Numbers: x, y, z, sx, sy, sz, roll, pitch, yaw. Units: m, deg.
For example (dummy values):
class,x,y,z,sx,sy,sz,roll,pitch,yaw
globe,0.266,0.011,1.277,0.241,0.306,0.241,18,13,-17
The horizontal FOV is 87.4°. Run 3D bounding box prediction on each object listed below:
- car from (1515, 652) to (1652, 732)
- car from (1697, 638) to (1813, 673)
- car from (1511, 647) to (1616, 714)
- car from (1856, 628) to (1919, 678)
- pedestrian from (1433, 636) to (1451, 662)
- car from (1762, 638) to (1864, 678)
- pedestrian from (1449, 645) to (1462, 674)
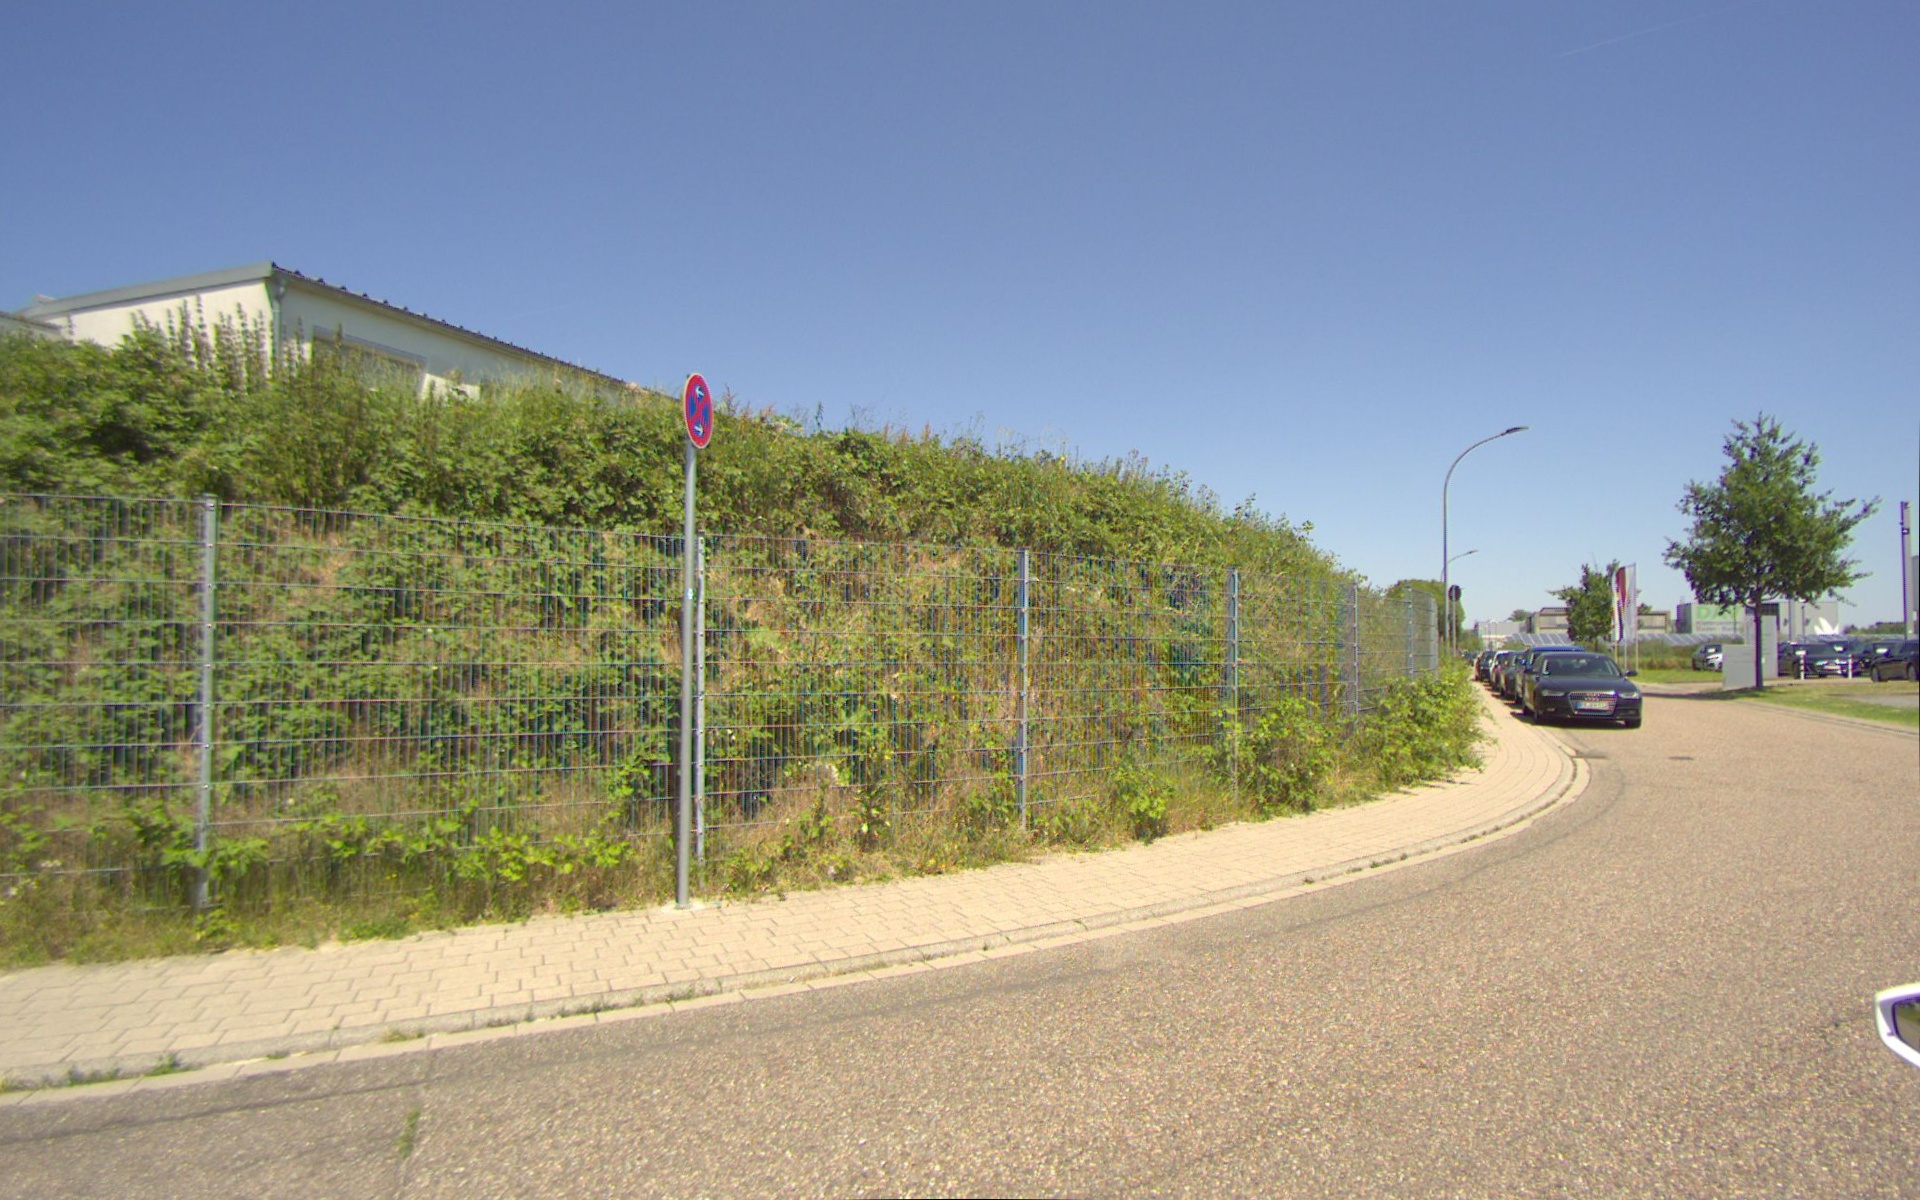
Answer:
class,x,y,z,sx,sy,sz,roll,pitch,yaw
car,12.875,1.851,21.010,1.796,1.473,4.579,-2,-4,24
car,43.035,3.045,54.509,4.457,1.714,2.031,-3,-5,24
car,15.637,2.047,26.232,1.796,1.590,4.384,-2,-4,24
car,31.346,1.754,32.610,1.931,1.475,4.984,-3,-6,25
pedestrian,37.532,3.789,78.181,0.951,1.998,0.838,2,-2,-24
car,36.524,2.489,43.178,1.994,1.533,5.235,-5,-5,26
pedestrian,32.298,3.880,65.462,0.733,1.825,1.133,1,-2,27
